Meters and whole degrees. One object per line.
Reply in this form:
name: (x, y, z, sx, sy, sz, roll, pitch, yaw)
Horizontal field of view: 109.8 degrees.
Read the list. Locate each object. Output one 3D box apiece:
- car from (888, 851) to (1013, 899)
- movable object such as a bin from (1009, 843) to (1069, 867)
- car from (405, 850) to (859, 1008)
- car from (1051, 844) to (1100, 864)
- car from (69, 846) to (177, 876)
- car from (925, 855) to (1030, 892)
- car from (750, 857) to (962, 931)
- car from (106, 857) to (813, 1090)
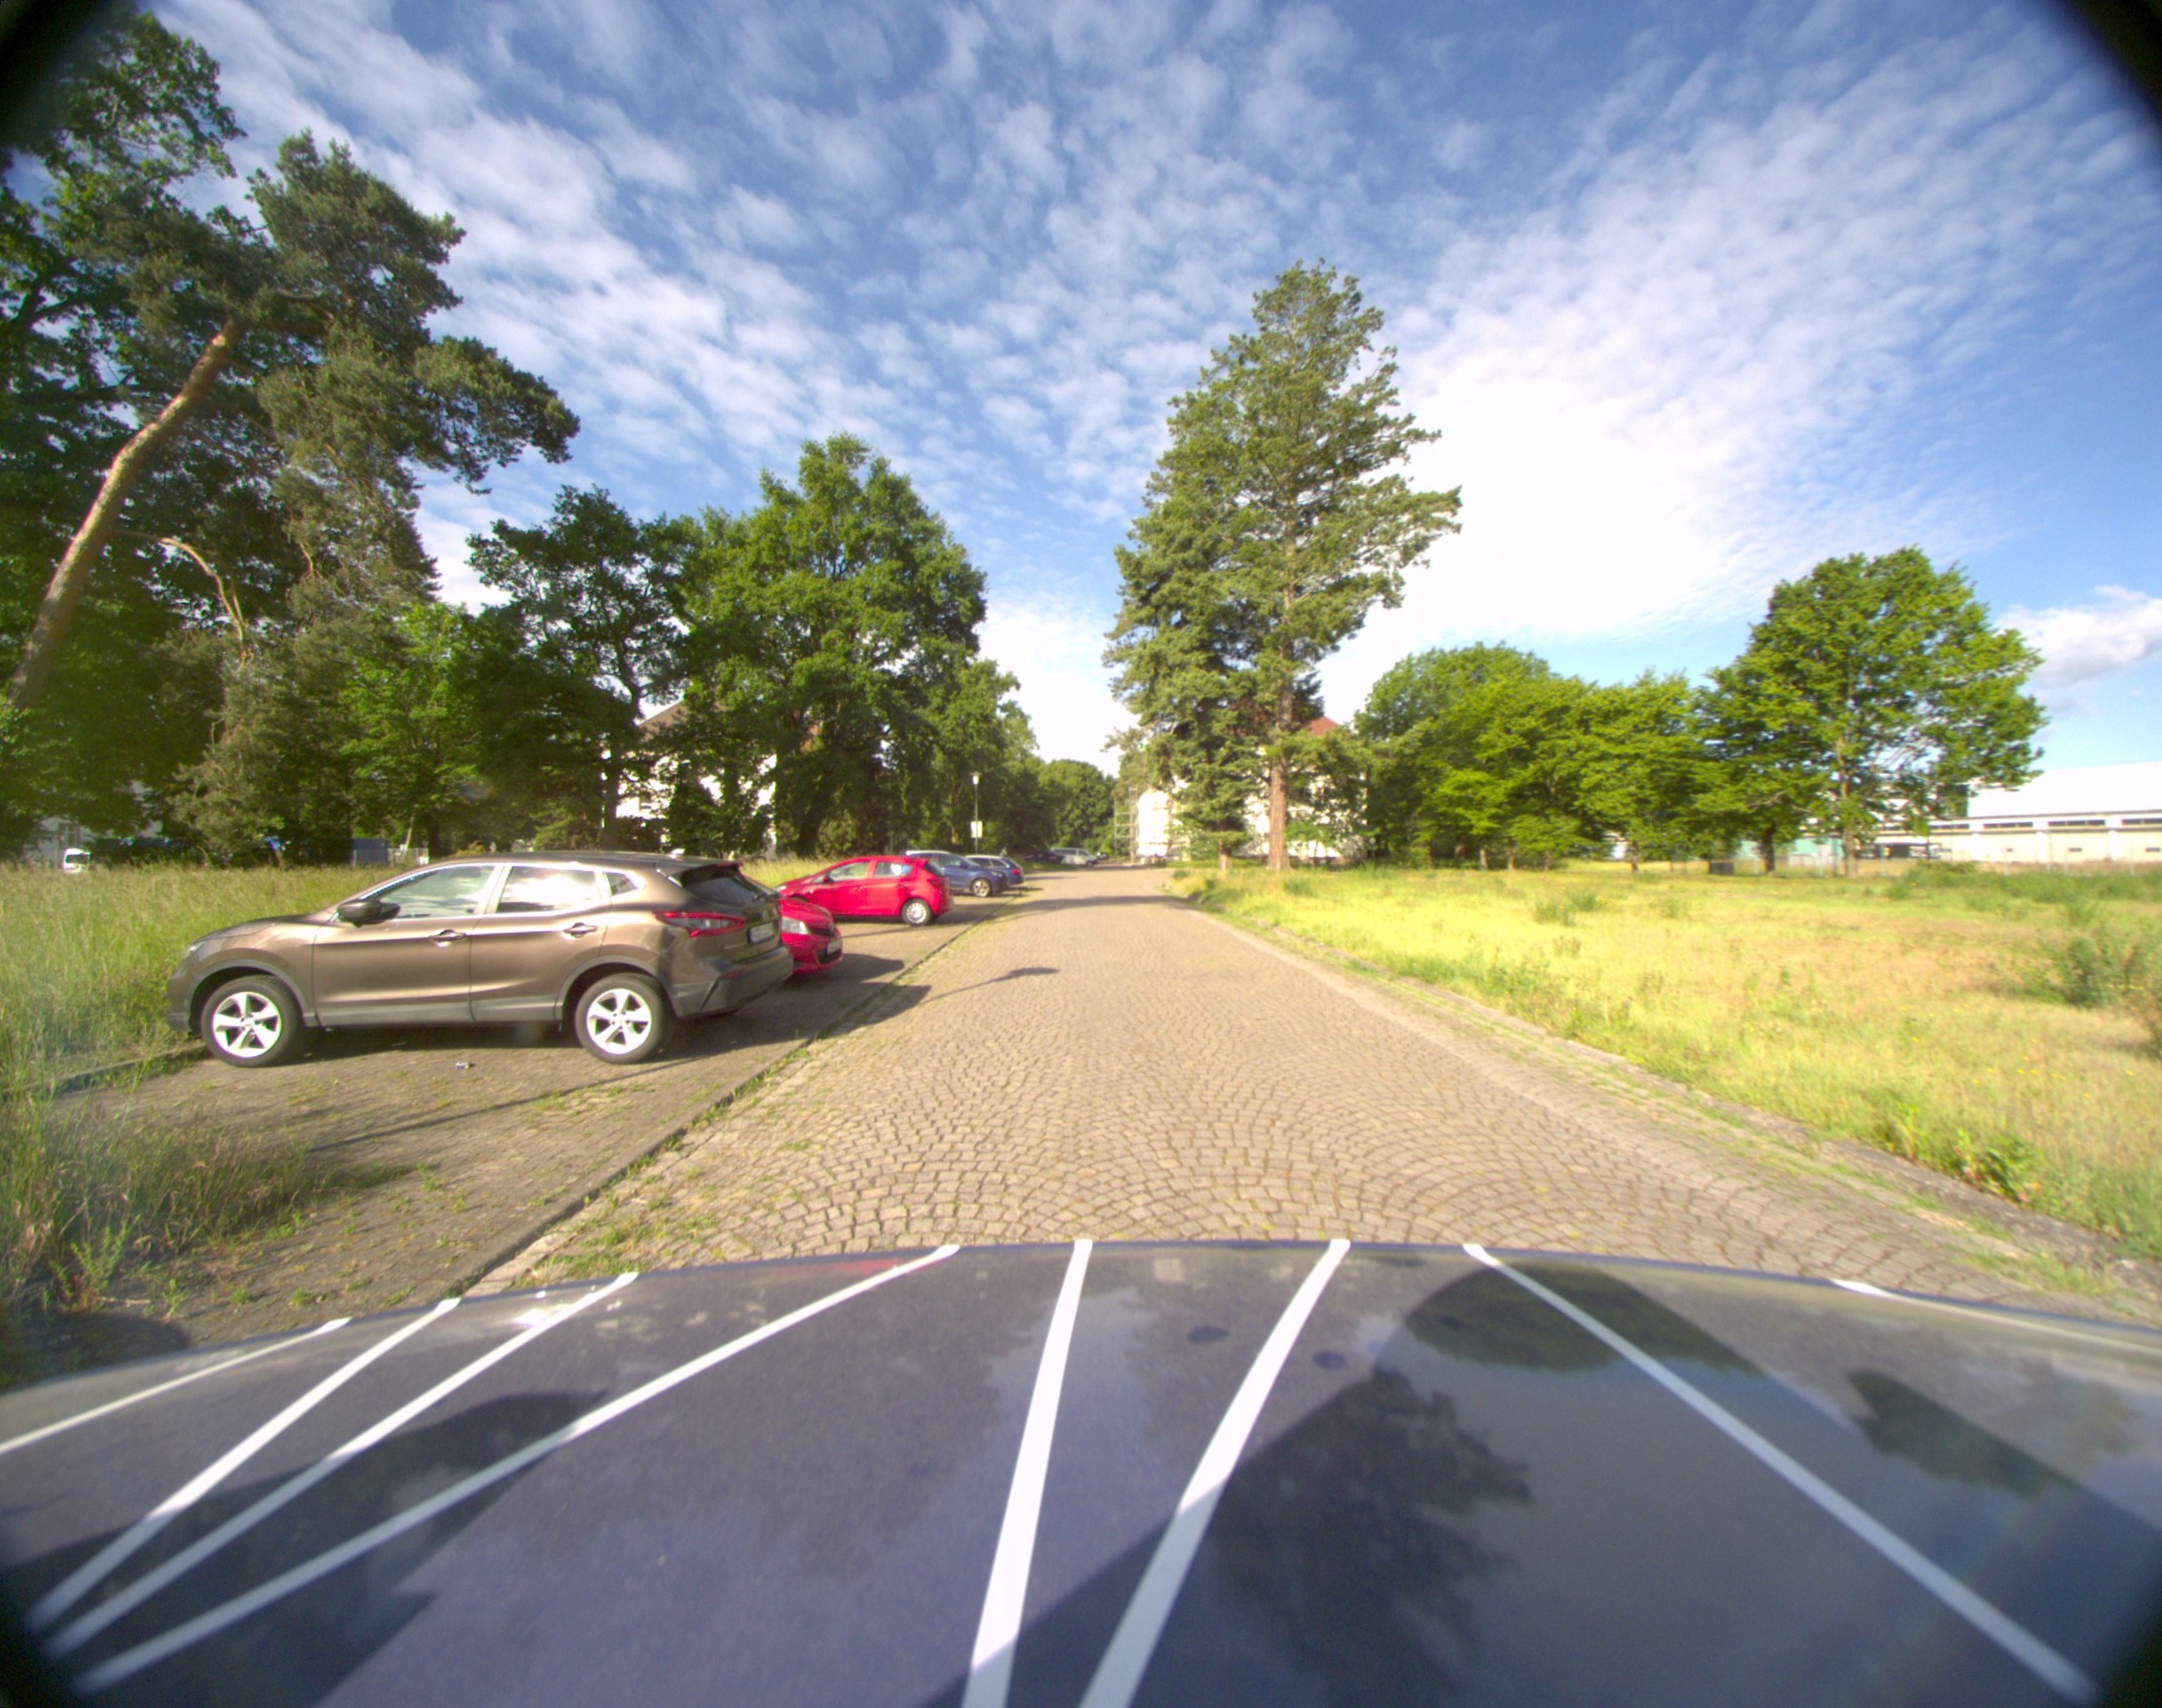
car: (-4.552, 0.707, 26.903, 4.098, 1.548, 1.853, 1, 0, -1)
movable object such as a bin: (-3.723, 0.077, 67.500, 4.865, 2.002, 2.002, -1, 1, 13)
car: (-5.045, 0.813, 9.071, 4.237, 1.589, 1.934, 1, 1, -3)
car: (-0.599, 0.004, 80.410, 4.933, 2.002, 1.998, 1, 1, -6)
car: (-68.047, 0.455, 54.076, 1.906, 1.928, 4.395, -2, 1, 1)
car: (-4.253, 0.781, 31.678, 4.098, 1.415, 1.784, 1, 0, -1)
car: (-4.828, 0.841, 16.764, 4.098, 1.451, 1.853, 1, 0, -1)
car: (-4.701, 0.848, 6.365, 4.237, 1.589, 1.934, 0, 1, -3)
